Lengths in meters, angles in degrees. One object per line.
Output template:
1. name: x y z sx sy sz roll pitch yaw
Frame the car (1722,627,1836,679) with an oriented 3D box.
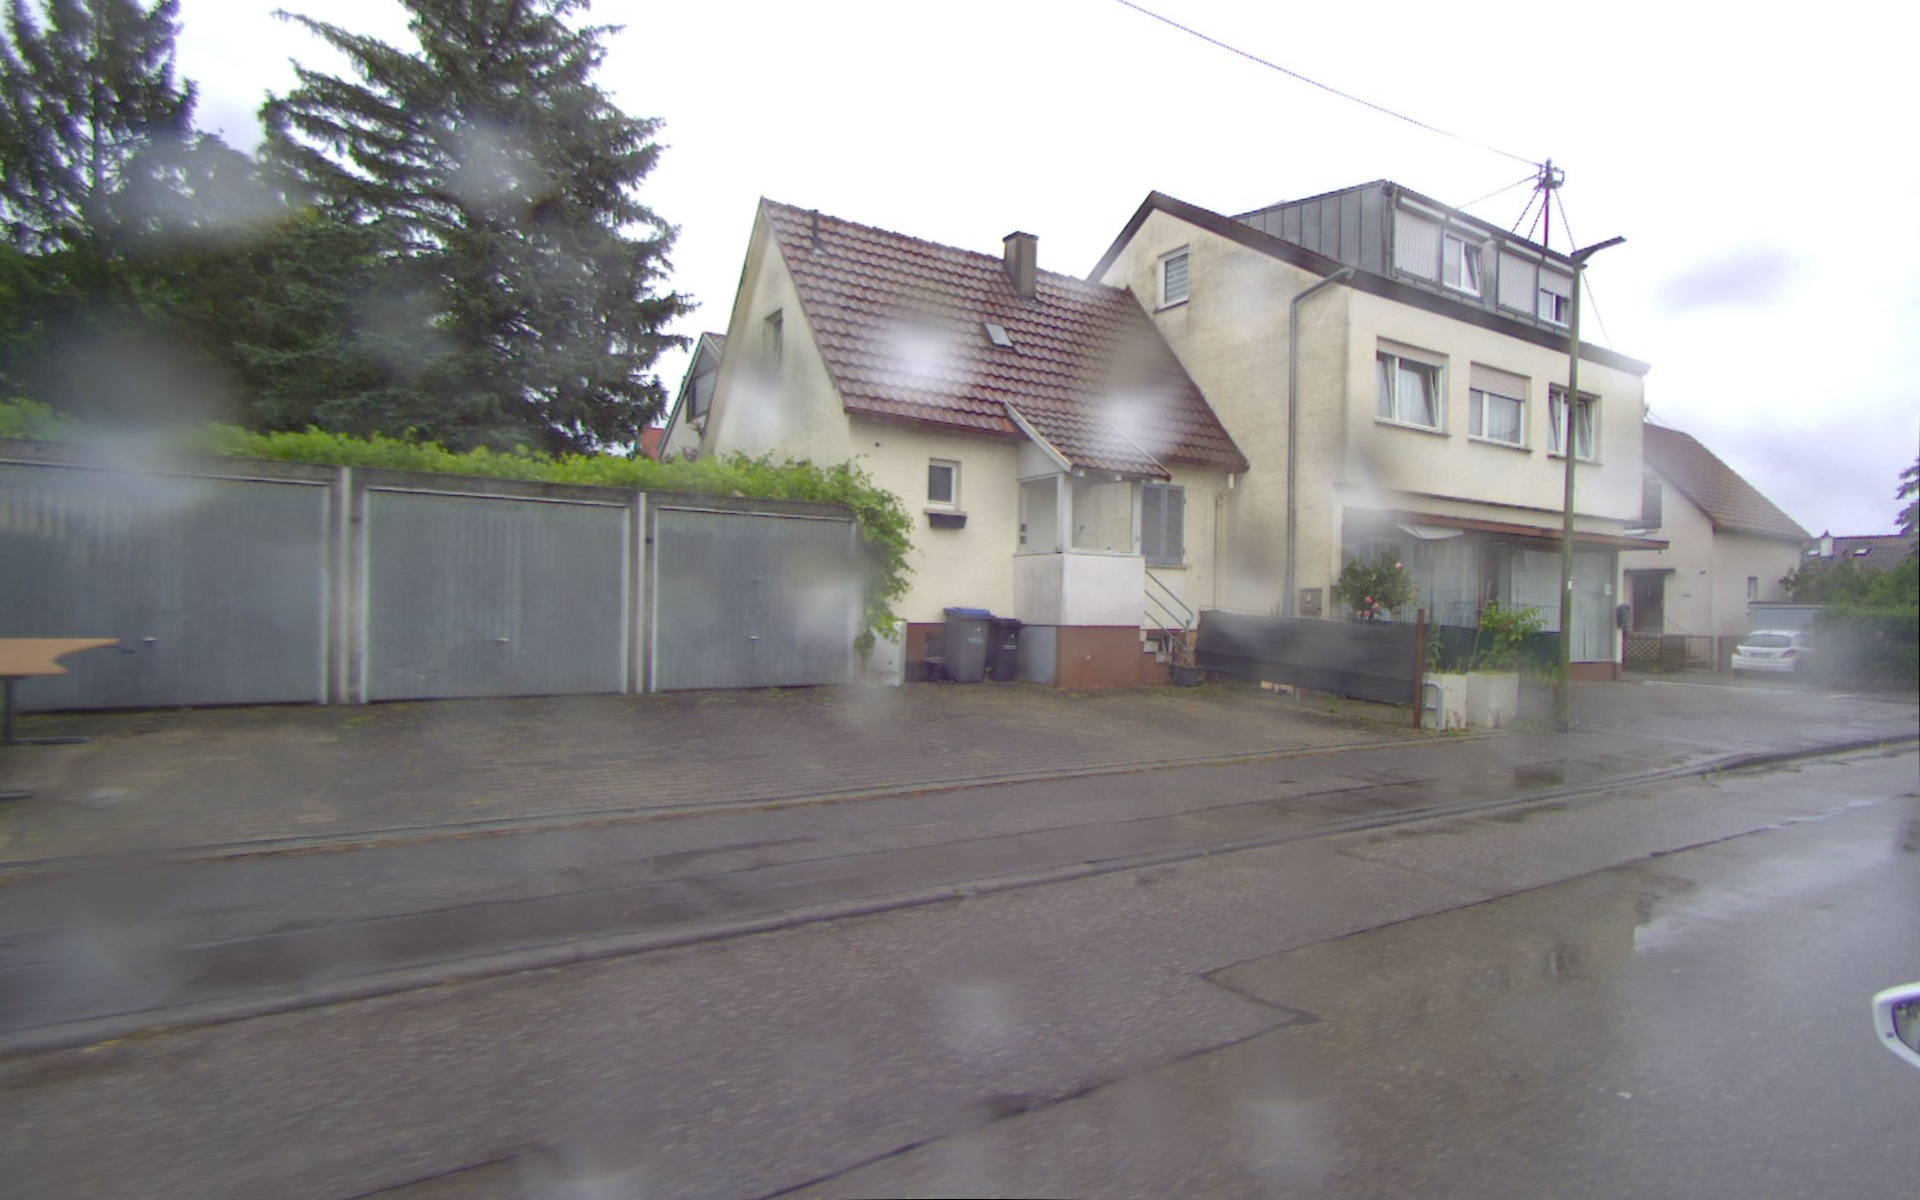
1. car: 26.746 1.675 32.789 3.957 1.528 1.784 0 0 -33
